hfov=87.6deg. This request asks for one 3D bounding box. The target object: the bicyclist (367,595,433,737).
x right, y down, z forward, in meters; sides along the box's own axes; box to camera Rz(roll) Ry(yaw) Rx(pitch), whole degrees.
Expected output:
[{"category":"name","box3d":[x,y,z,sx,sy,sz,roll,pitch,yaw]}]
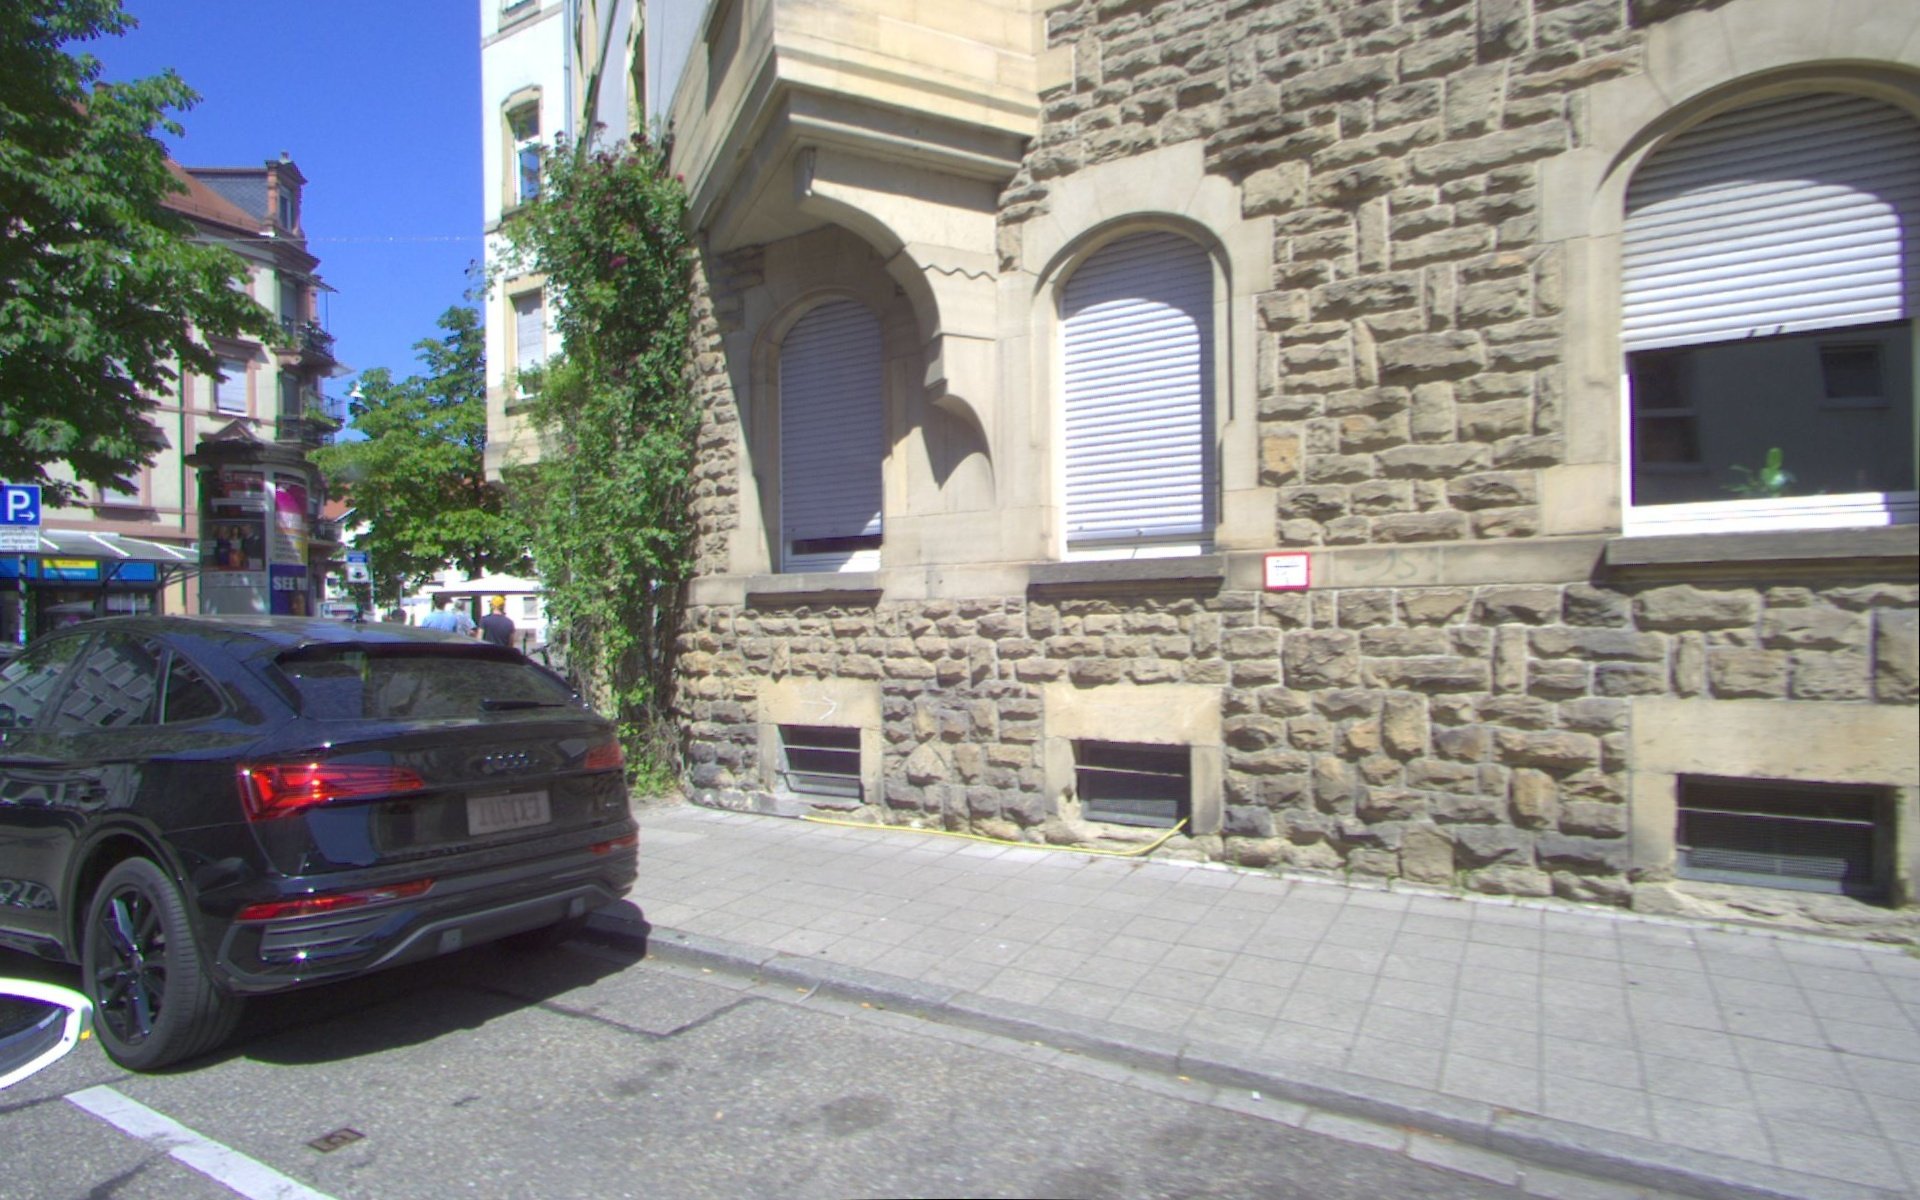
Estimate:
[{"category":"bicyclist","box3d":[-6.898,0.789,12.332,0.670,1.669,0.658,-1,0,-31]}]

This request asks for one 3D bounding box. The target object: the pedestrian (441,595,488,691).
[{"category":"pedestrian","box3d":[-9.670,0.832,19.561,0.572,1.817,0.749,-1,0,-8]}]

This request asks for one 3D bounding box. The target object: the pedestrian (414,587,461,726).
[{"category":"pedestrian","box3d":[-7.357,0.781,14.117,0.512,1.893,0.651,-1,-1,-23]}]

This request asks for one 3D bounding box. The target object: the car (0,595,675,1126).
[{"category":"car","box3d":[-3.605,0.875,4.871,4.281,1.616,1.735,-1,-3,29]}]

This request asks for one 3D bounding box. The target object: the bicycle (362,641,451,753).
[{"category":"bicycle","box3d":[-6.898,1.132,12.400,0.785,1.184,2.563,-1,-1,-33]}]

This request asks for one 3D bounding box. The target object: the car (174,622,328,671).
[{"category":"car","box3d":[-24.411,1.554,34.629,1.752,1.525,3.982,-1,-1,30]}]

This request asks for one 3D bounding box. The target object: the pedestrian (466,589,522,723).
[{"category":"pedestrian","box3d":[-6.848,0.809,14.732,0.590,1.904,0.882,-1,-1,-16]}]

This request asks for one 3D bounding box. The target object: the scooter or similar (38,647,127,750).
[{"category":"scooter or similar","box3d":[-10.699,1.175,12.239,0.436,1.151,1.182,-1,0,-22]}]

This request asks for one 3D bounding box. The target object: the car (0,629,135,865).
[{"category":"car","box3d":[-8.182,1.013,7.604,4.117,1.559,1.661,-1,-3,31]}]

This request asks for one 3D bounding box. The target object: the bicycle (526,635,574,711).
[{"category":"bicycle","box3d":[-6.322,1.085,15.396,0.541,1.053,1.830,-1,0,-26]}]
